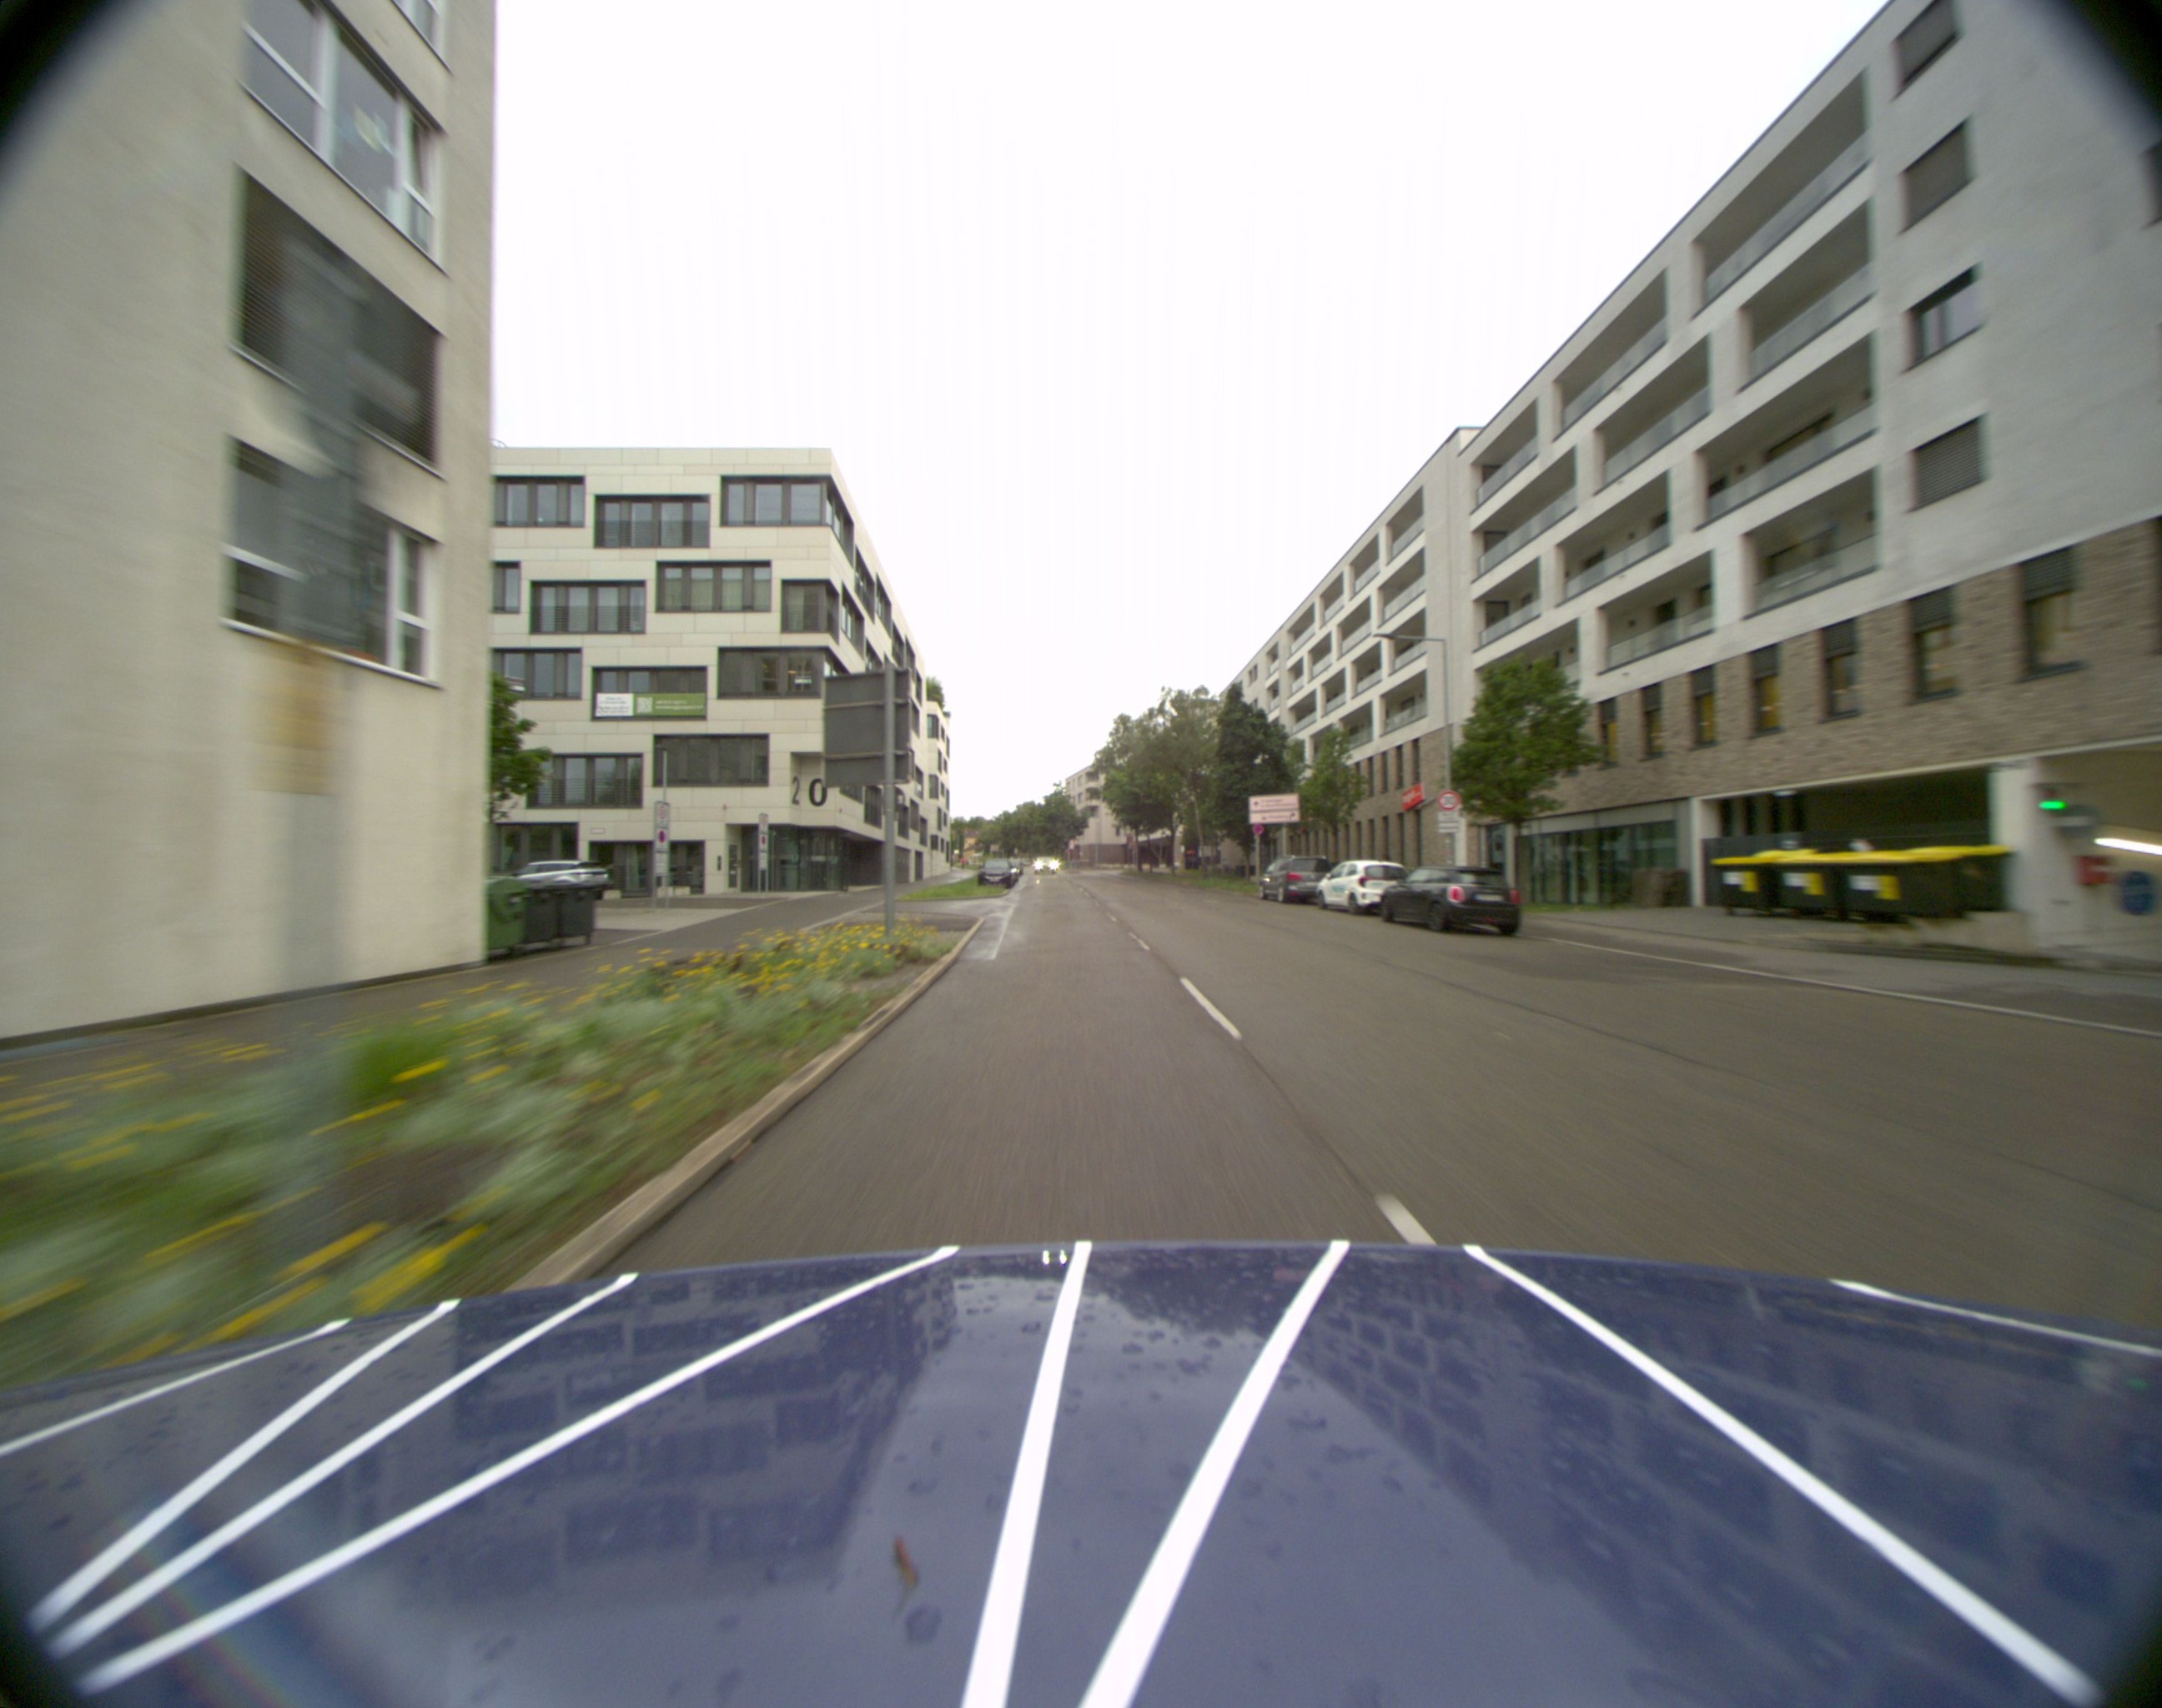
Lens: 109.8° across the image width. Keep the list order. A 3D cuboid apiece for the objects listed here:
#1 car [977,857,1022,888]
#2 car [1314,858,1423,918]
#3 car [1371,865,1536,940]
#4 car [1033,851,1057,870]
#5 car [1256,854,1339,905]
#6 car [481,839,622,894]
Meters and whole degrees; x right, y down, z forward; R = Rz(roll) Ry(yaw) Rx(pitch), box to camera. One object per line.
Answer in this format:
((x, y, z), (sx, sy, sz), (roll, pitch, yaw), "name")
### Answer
((-4.469, 0.981, 42.218), (1.998, 1.477, 3.999), (-2, 1, 1), "car")
((8.099, 0.916, 21.717), (1.597, 1.459, 3.421), (3, 1, -3), "car")
((8.172, 0.997, 17.059), (1.662, 1.383, 3.738), (2, 0, -4), "car")
((-3.349, 0.601, 71.465), (1.998, 1.565, 3.999), (-2, 1, 1), "car")
((7.532, 0.823, 26.856), (1.630, 1.608, 3.971), (2, 0, -2), "car")
((-20.114, 0.472, 28.997), (3.996, 2.002, 2.000), (0, 0, 2), "car")
